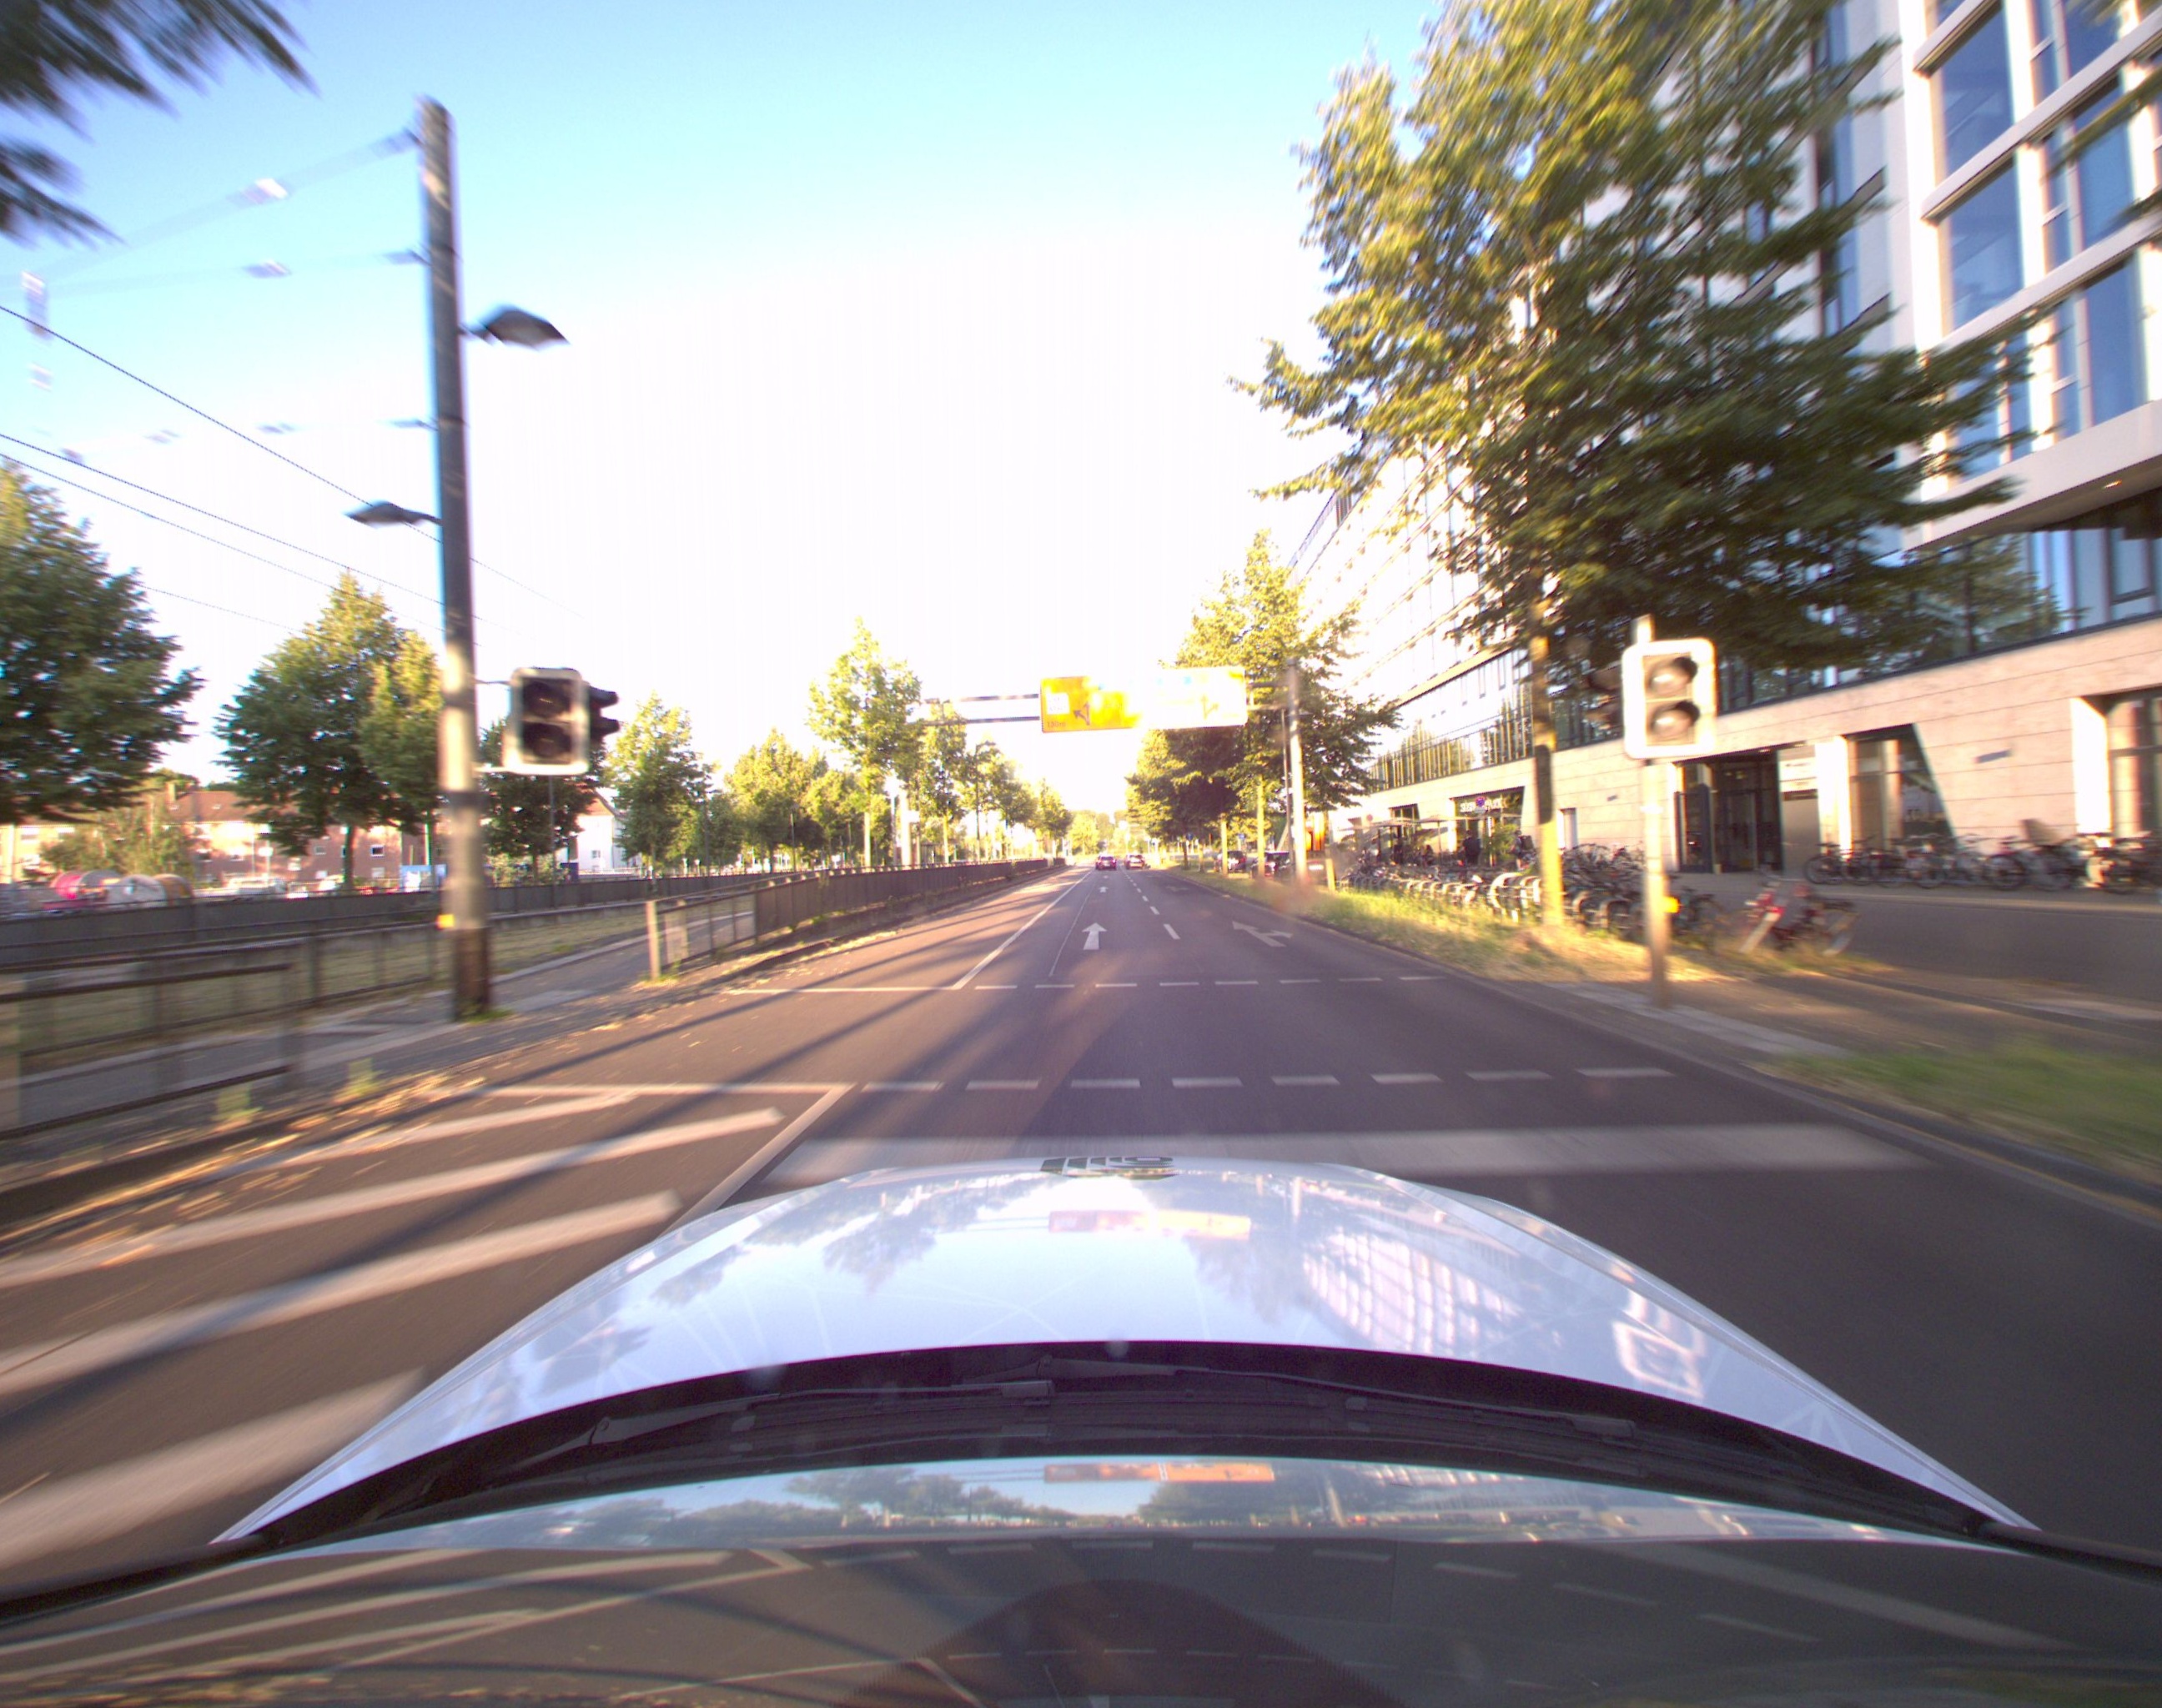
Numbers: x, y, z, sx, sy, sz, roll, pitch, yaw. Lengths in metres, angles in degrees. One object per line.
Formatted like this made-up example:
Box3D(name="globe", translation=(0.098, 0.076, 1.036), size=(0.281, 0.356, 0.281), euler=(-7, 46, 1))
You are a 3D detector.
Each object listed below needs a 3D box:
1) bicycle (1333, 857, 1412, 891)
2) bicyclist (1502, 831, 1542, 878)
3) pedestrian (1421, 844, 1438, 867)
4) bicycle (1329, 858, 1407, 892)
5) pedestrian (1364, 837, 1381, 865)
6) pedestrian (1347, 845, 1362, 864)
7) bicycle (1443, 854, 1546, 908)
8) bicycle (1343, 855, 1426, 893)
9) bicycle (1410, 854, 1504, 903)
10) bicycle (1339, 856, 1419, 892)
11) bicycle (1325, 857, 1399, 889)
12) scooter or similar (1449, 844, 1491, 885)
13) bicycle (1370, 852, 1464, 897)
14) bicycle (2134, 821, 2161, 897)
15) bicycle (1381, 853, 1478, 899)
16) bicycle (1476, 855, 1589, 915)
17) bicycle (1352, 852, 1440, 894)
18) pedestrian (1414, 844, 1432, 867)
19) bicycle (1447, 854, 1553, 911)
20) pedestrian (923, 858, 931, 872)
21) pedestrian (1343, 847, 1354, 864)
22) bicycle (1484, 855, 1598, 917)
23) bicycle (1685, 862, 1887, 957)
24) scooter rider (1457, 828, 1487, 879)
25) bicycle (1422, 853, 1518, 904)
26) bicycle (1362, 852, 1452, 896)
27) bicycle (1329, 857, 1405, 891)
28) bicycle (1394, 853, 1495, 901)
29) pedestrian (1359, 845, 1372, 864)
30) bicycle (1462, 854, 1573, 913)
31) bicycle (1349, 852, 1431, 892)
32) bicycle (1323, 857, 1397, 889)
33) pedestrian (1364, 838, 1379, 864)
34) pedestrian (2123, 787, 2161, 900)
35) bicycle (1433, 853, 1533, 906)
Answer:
Box3D(name="bicycle", translation=(8.357, 0.571, 23.330), size=(2.139, 0.939, 0.442), euler=(1, 0, -5))
Box3D(name="bicyclist", translation=(14.953, 0.016, 27.639), size=(0.769, 1.566, 0.992), euler=(-2, 0, -1))
Box3D(name="pedestrian", translation=(18.491, 0.078, 43.256), size=(0.569, 1.195, 0.807), euler=(-2, 0, 4))
Box3D(name="bicycle", translation=(8.382, 0.600, 23.817), size=(2.139, 0.939, 0.451), euler=(1, 0, -5))
Box3D(name="pedestrian", translation=(18.383, -0.181, 51.371), size=(0.707, 1.737, 0.683), euler=(-2, 0, -28))
Box3D(name="pedestrian", translation=(18.530, 0.026, 55.214), size=(0.627, 1.282, 0.712), euler=(-2, 0, -20))
Box3D(name="bicycle", translation=(8.429, 0.546, 16.616), size=(1.939, 1.054, 0.413), euler=(1, 0, -6))
Box3D(name="bicycle", translation=(8.333, 0.542, 22.373), size=(2.139, 0.986, 0.442), euler=(1, 0, -5))
Box3D(name="bicycle", translation=(8.405, 0.543, 18.218), size=(1.938, 1.054, 0.404), euler=(1, 0, -5))
Box3D(name="bicycle", translation=(8.358, 0.560, 22.856), size=(2.140, 0.973, 0.442), euler=(1, 0, -7))
Box3D(name="bicycle", translation=(8.762, 0.599, 25.426), size=(2.139, 0.939, 0.544), euler=(1, 0, -5))
Box3D(name="scooter or similar", translation=(12.834, 0.331, 26.906), size=(0.524, 1.310, 1.664), euler=(-2, 0, 0))
Box3D(name="bicycle", translation=(8.394, 0.509, 20.357), size=(2.139, 1.054, 0.570), euler=(1, 0, -5))
Box3D(name="bicycle", translation=(17.867, 0.046, 12.868), size=(1.825, 1.177, 0.503), euler=(-2, 0, -2))
Box3D(name="bicycle", translation=(8.434, 0.526, 19.750), size=(2.139, 1.054, 0.561), euler=(1, 0, -5))
Box3D(name="bicycle", translation=(8.263, 0.559, 14.913), size=(1.939, 1.054, 0.347), euler=(1, 0, -6))
Box3D(name="bicycle", translation=(8.318, 0.486, 21.525), size=(2.139, 1.054, 0.524), euler=(1, 0, -5))
Box3D(name="pedestrian", translation=(18.555, 0.066, 44.198), size=(0.569, 1.195, 0.807), euler=(-2, 0, 2))
Box3D(name="bicycle", translation=(8.241, 0.557, 16.017), size=(1.939, 1.054, 0.413), euler=(1, 0, -6))
Box3D(name="pedestrian", translation=(-14.505, 1.039, 76.765), size=(0.613, 1.319, 0.744), euler=(-2, 0, -2))
Box3D(name="pedestrian", translation=(19.205, 0.113, 58.468), size=(0.569, 1.186, 0.862), euler=(-2, 0, 3))
Box3D(name="bicycle", translation=(8.218, 0.566, 14.549), size=(1.939, 1.054, 0.314), euler=(1, 0, -6))
Box3D(name="bicycle", translation=(8.414, 0.645, 9.759), size=(1.935, 1.054, 0.545), euler=(1, 0, 1))
Box3D(name="scooter rider", translation=(12.823, -0.015, 26.750), size=(0.524, 1.638, 0.832), euler=(-2, 0, -1))
Box3D(name="bicycle", translation=(8.482, 0.535, 17.755), size=(1.938, 1.054, 0.404), euler=(1, 0, -5))
Box3D(name="bicycle", translation=(8.389, 0.510, 20.966), size=(2.139, 1.054, 0.524), euler=(1, 0, -5))
Box3D(name="bicycle", translation=(8.493, 0.589, 24.217), size=(2.139, 0.939, 0.442), euler=(1, 0, -5))
Box3D(name="bicycle", translation=(8.458, 0.536, 18.968), size=(2.139, 1.054, 0.570), euler=(1, 0, -5))
Box3D(name="pedestrian", translation=(19.171, 0.022, 54.845), size=(0.577, 1.282, 0.738), euler=(-2, 0, -2))
Box3D(name="bicycle", translation=(8.260, 0.553, 15.416), size=(1.939, 1.054, 0.413), euler=(1, 0, -6))
Box3D(name="bicycle", translation=(8.331, 0.484, 21.968), size=(2.139, 1.054, 0.300), euler=(1, 0, -5))
Box3D(name="bicycle", translation=(8.534, 0.584, 24.906), size=(2.139, 0.939, 0.442), euler=(1, 0, -5))
Box3D(name="pedestrian", translation=(19.841, -0.218, 55.691), size=(0.636, 1.718, 0.695), euler=(-2, 0, -18))
Box3D(name="pedestrian", translation=(16.121, -0.165, 11.853), size=(0.640, 1.648, 0.953), euler=(-2, 0, 1))
Box3D(name="bicycle", translation=(8.514, 0.538, 17.275), size=(1.936, 1.054, 0.404), euler=(1, 0, -2))
